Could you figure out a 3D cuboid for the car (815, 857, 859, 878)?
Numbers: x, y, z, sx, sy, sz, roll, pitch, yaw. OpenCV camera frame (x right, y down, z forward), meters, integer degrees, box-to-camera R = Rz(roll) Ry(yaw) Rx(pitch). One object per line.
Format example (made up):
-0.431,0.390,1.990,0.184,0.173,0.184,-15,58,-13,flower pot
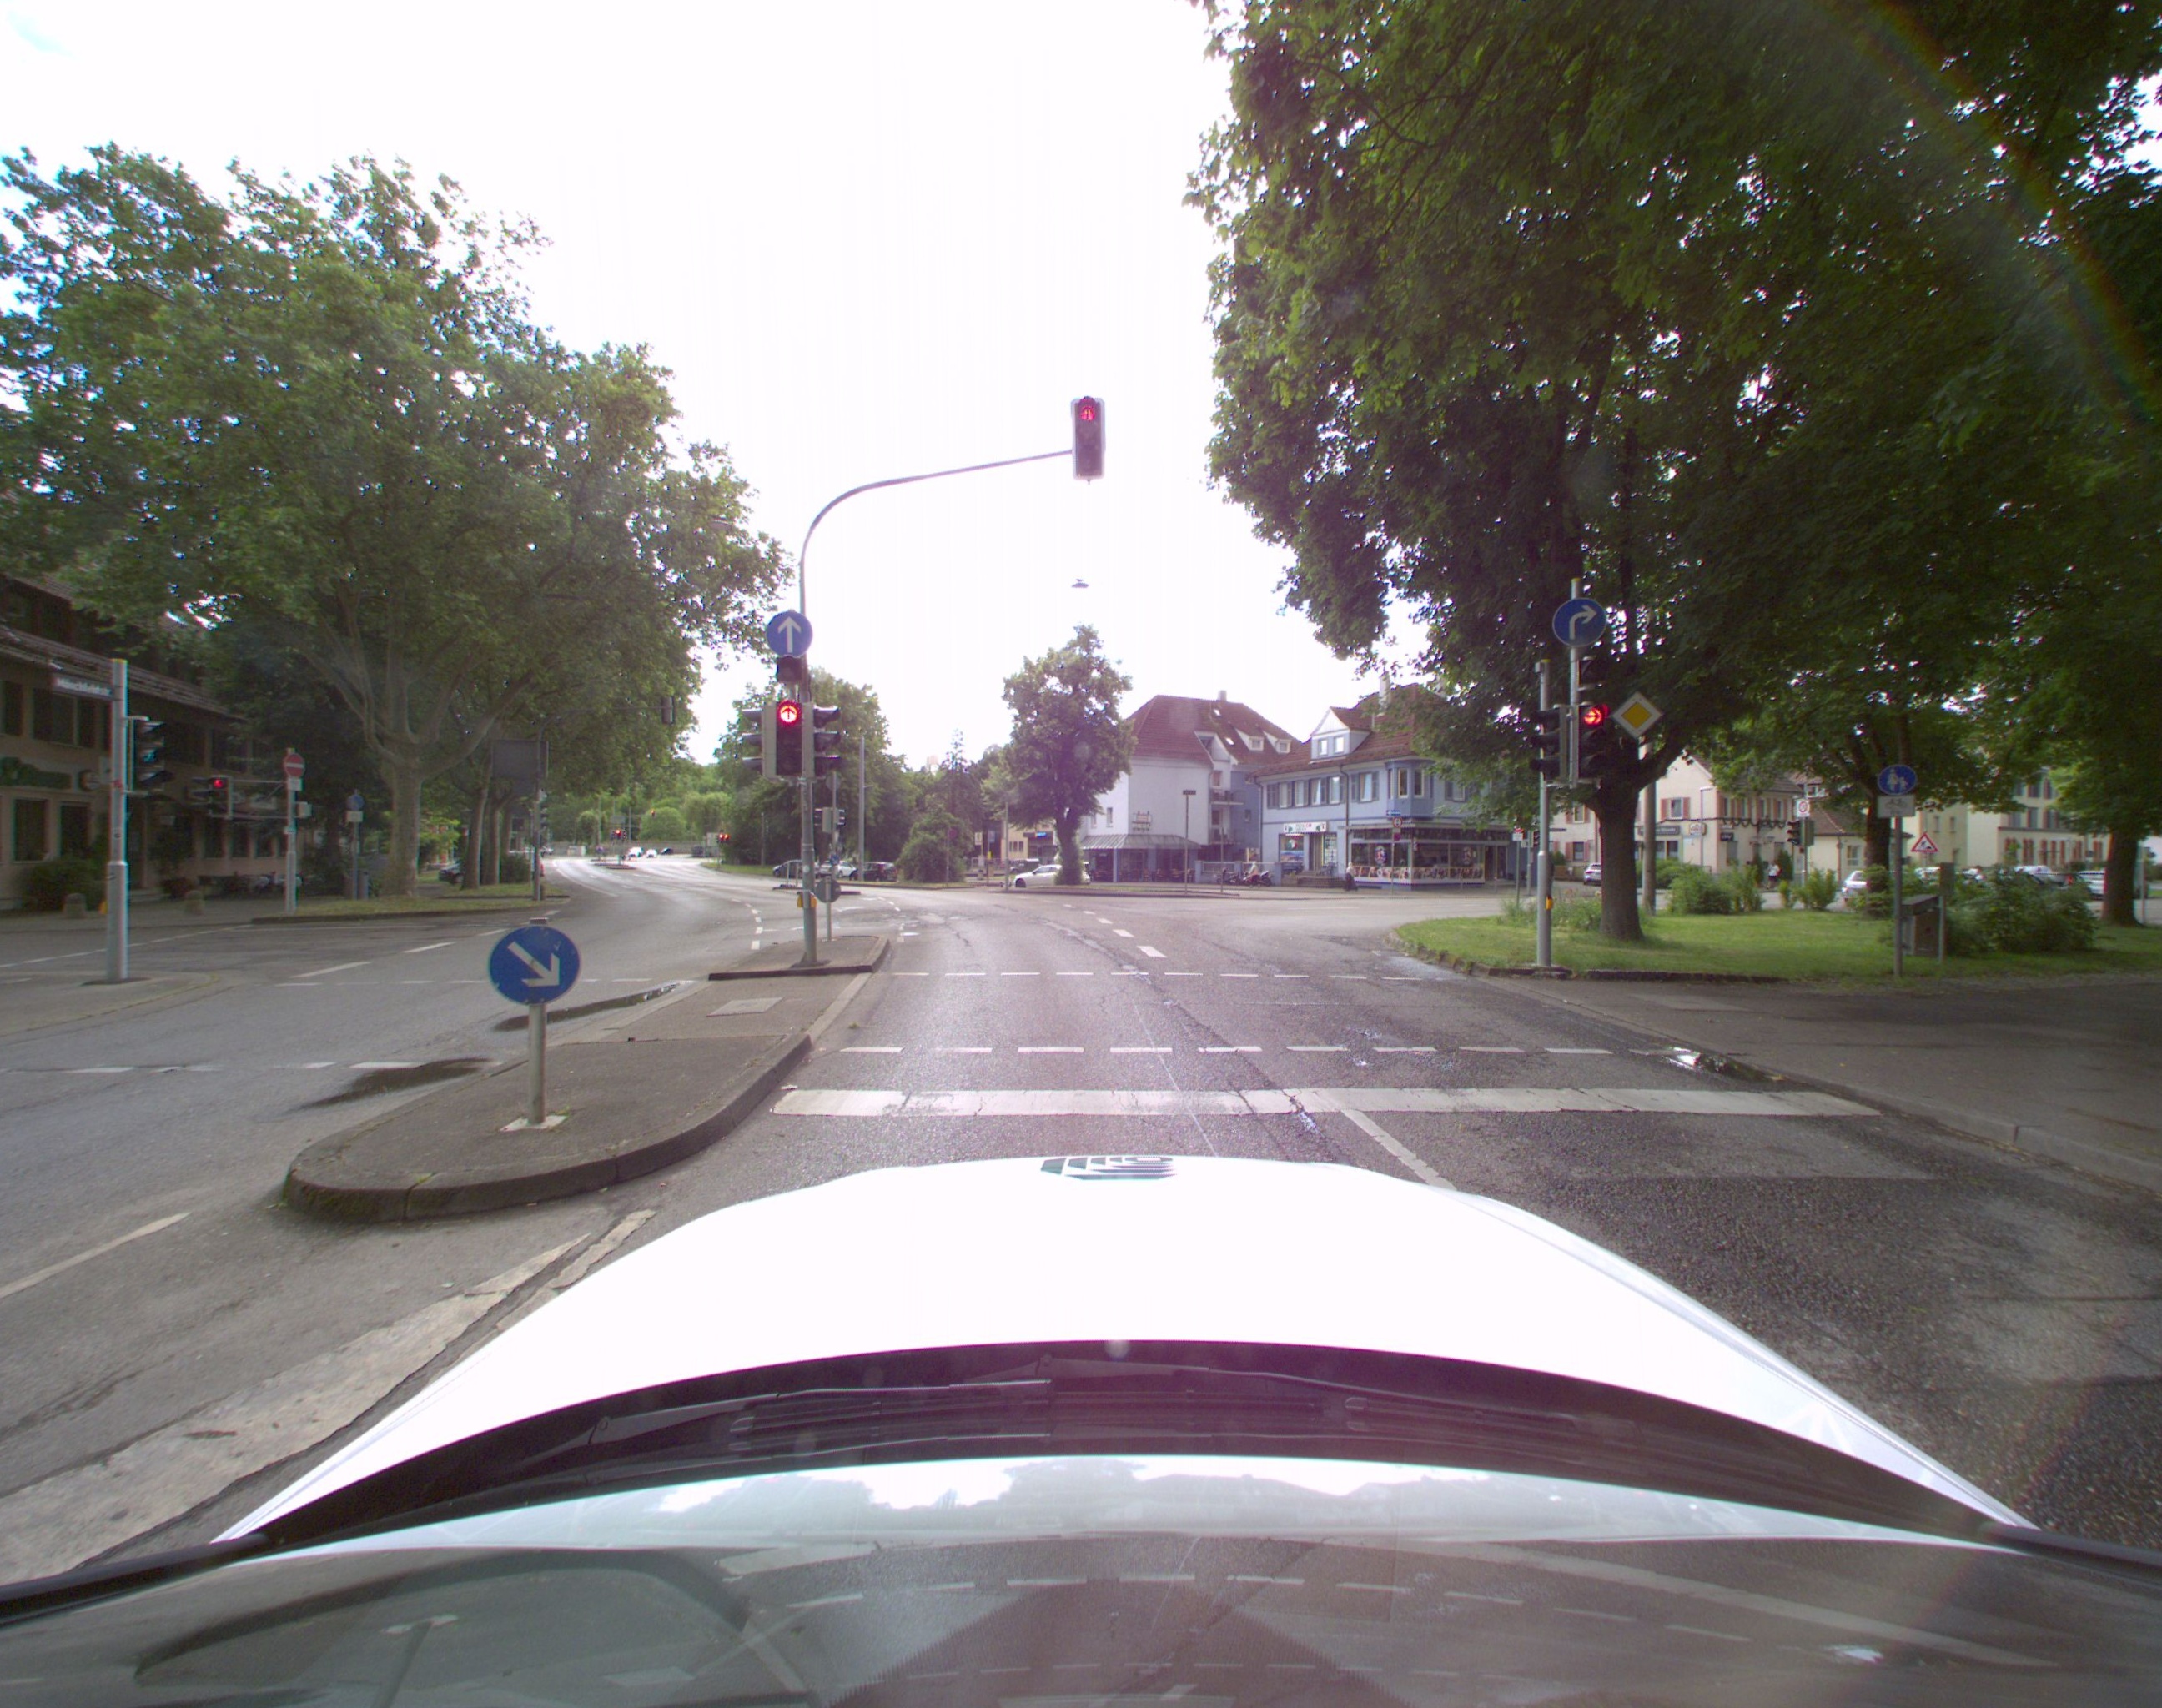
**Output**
-20.133,1.086,67.407,1.848,1.640,3.768,0,0,13,car

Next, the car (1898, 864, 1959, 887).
55.162,1.399,53.022,3.871,1.447,1.753,0,-1,-28,car

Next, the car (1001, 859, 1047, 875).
-5.318,1.235,75.917,3.948,1.442,1.742,0,0,-18,car

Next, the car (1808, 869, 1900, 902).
31.771,1.278,33.482,3.007,1.267,1.455,0,-1,-17,car

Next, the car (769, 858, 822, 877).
-22.588,1.027,64.516,3.742,1.465,1.629,0,0,20,car

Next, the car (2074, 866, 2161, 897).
52.596,1.373,41.251,3.731,1.457,1.640,0,0,-17,car

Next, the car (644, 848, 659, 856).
-83.020,-0.350,157.385,2.988,1.417,1.509,-1,-2,42,car

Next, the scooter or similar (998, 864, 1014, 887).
-3.952,1.140,42.845,0.439,1.175,1.442,-1,-1,11,scooter or similar

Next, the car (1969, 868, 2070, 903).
42.346,1.382,36.750,3.731,1.457,1.640,0,0,-17,car

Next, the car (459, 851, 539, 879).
-36.459,0.680,51.177,4.015,1.684,1.979,0,-1,-34,car

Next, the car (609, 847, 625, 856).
-87.267,-0.490,153.218,3.293,1.486,1.594,-1,-2,43,car

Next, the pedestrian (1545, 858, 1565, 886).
26.473,0.988,45.491,0.671,1.560,0.743,0,-1,-13,pedestrian

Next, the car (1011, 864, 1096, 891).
-1.594,1.287,45.932,4.654,1.410,1.914,0,-1,37,car

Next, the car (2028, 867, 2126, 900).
47.080,1.374,38.513,3.731,1.457,1.640,0,0,-17,car

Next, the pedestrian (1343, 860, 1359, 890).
14.401,1.112,43.421,0.687,1.560,0.671,-1,-1,33,pedestrian

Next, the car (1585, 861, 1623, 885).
32.459,1.143,50.618,1.866,1.391,3.637,0,0,31,car

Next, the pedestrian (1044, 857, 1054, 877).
-3.190,1.299,80.912,0.838,2.014,1.051,0,-1,-12,pedestrian

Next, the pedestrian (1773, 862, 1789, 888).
41.068,1.226,47.799,0.504,1.560,0.507,0,-1,-13,pedestrian

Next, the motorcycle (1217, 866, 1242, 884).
9.135,1.309,50.046,1.441,1.088,0.527,-1,-1,37,motorcycle

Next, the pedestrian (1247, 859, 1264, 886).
10.024,1.052,46.865,0.724,1.560,0.773,-1,-1,33,pedestrian

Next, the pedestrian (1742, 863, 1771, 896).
22.012,0.823,26.558,0.505,1.081,0.514,0,-1,-13,pedestrian

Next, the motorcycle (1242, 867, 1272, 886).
10.428,1.320,48.243,1.609,1.088,0.631,-1,-1,34,motorcycle

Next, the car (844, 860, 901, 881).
-13.825,1.055,54.001,3.285,1.352,1.791,0,0,29,car

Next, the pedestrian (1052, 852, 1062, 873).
-1.751,0.617,59.460,0.538,1.560,0.470,-1,-1,15,pedestrian

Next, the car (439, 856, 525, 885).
-35.629,0.955,48.608,4.015,1.684,1.979,0,-1,-34,car
